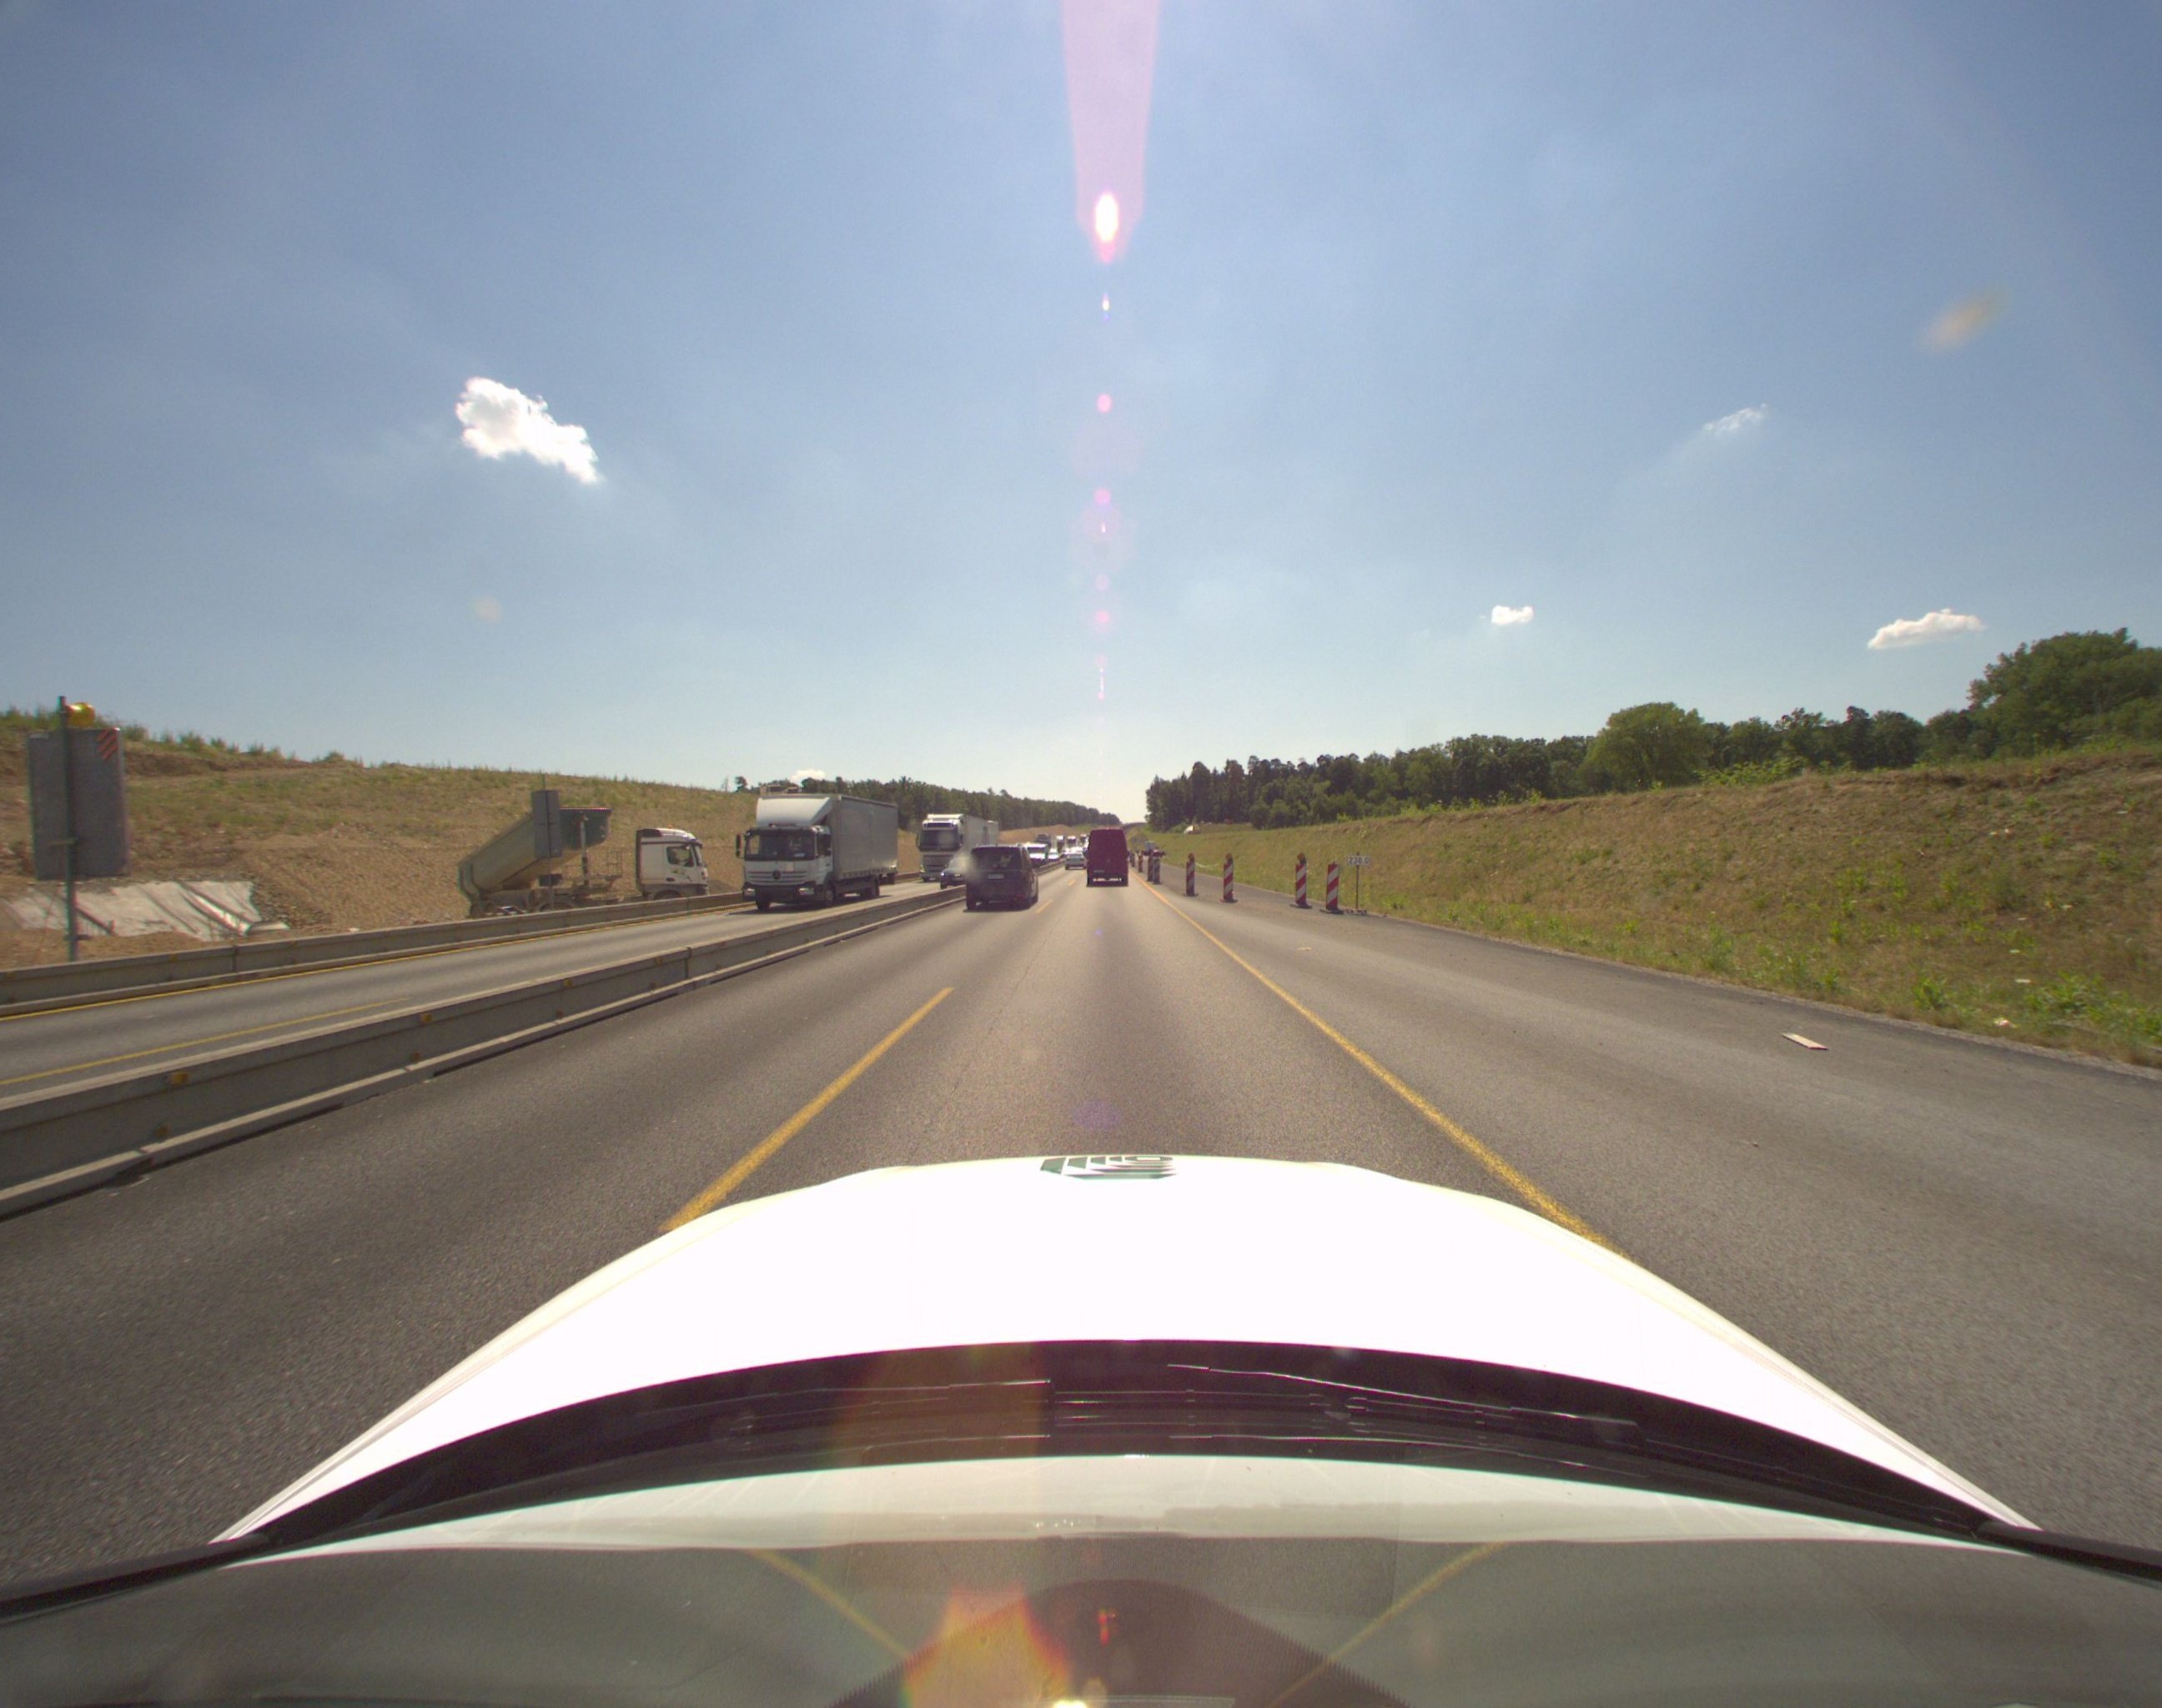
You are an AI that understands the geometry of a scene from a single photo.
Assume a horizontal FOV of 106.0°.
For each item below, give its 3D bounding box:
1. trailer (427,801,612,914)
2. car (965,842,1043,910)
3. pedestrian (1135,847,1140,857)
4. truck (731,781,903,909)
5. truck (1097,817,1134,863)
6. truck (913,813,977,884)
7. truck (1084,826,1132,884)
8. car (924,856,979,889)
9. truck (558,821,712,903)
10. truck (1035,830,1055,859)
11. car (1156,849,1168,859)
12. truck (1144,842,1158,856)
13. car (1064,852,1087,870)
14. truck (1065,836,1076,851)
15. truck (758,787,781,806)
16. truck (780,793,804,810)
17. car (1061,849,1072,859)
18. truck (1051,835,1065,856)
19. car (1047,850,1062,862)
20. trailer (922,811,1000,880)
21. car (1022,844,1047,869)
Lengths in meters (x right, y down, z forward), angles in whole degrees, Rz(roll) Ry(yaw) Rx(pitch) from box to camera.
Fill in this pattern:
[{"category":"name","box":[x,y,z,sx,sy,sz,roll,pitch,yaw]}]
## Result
[{"category":"trailer","box":[-22.697,0.167,32.795,8.263,4.098,2.817,-1,-1,30]},{"category":"car","box":[-2.217,0.576,24.702,1.745,1.824,4.785,-1,1,2]},{"category":"pedestrian","box":[9.955,-0.322,144.095,0.724,1.828,0.716,0,-1,-15]},{"category":"truck","box":[-8.789,-0.239,28.613,2.634,3.716,9.486,-1,0,2]},{"category":"truck","box":[4.426,-1.670,105.931,4.383,5.496,16.610,-1,0,2]},{"category":"truck","box":[-8.241,-0.314,49.898,2.838,4.018,4.861,-2,-1,2]},{"category":"truck","box":[1.273,0.066,39.685,2.146,2.590,5.333,-1,0,1]},{"category":"car","box":[-6.023,0.852,38.338,1.852,1.442,4.500,-1,0,0]},{"category":"truck","box":[-17.215,0.285,31.830,5.069,2.964,2.566,0,-1,-24]},{"category":"truck","box":[-5.565,-1.423,126.081,2.482,4.198,5.914,-3,0,2]},{"category":"car","box":[12.862,-0.073,129.527,1.647,1.426,4.548,-3,1,2]},{"category":"truck","box":[12.723,-0.861,147.560,2.117,2.456,5.940,0,1,9]},{"category":"car","box":[-0.437,0.579,71.086,1.824,1.522,3.963,-1,0,2]},{"category":"truck","box":[-2.903,-2.996,226.566,2.758,4.044,4.946,-1,0,2]},{"category":"truck","box":[-58.682,-10.762,153.306,2.371,2.898,8.279,0,-1,-34]},{"category":"truck","box":[-57.230,-10.380,161.235,2.311,2.749,8.813,0,-1,-34]},{"category":"car","box":[-2.332,-0.005,132.354,1.682,1.613,4.595,-1,0,1]},{"category":"truck","box":[-4.767,-1.708,166.108,2.583,4.053,5.151,-1,0,1]},{"category":"car","box":[-3.268,0.230,101.551,1.682,1.502,3.977,-1,0,1]},{"category":"trailer","box":[-7.972,-0.476,56.250,2.844,4.093,13.657,-2,0,2]},{"category":"car","box":[-4.380,0.180,77.463,1.986,2.292,5.345,-1,1,1]}]
